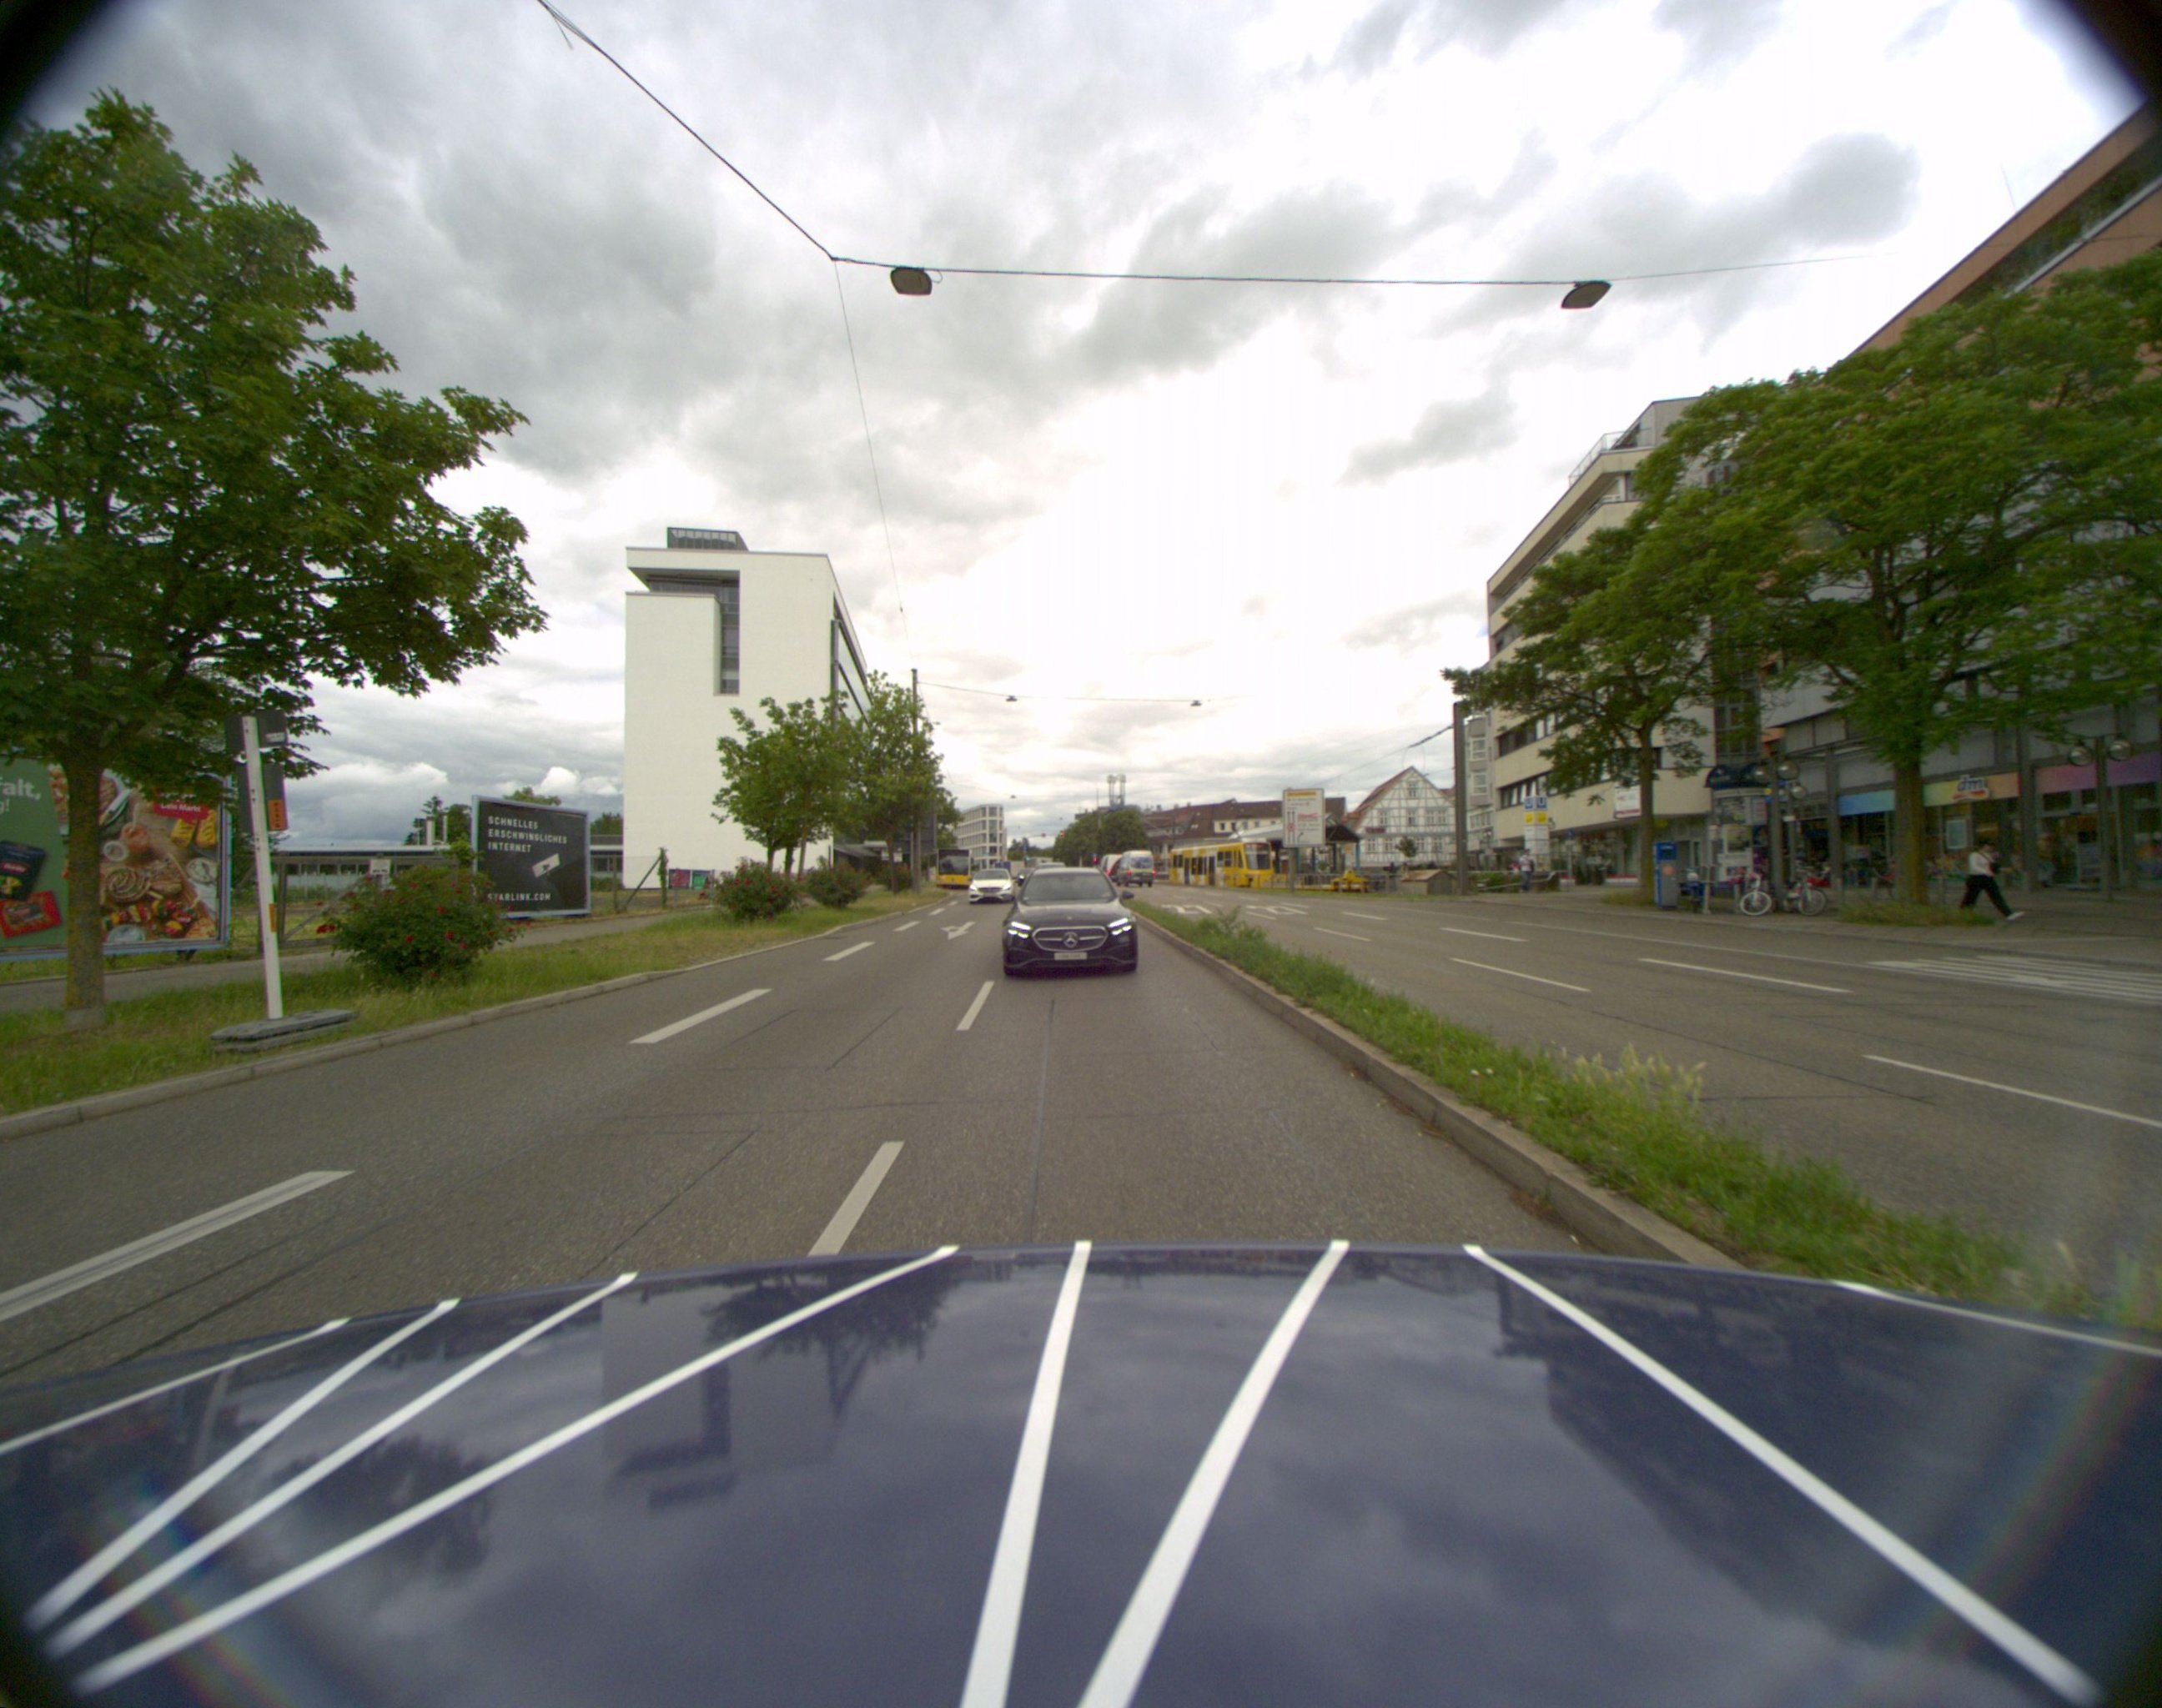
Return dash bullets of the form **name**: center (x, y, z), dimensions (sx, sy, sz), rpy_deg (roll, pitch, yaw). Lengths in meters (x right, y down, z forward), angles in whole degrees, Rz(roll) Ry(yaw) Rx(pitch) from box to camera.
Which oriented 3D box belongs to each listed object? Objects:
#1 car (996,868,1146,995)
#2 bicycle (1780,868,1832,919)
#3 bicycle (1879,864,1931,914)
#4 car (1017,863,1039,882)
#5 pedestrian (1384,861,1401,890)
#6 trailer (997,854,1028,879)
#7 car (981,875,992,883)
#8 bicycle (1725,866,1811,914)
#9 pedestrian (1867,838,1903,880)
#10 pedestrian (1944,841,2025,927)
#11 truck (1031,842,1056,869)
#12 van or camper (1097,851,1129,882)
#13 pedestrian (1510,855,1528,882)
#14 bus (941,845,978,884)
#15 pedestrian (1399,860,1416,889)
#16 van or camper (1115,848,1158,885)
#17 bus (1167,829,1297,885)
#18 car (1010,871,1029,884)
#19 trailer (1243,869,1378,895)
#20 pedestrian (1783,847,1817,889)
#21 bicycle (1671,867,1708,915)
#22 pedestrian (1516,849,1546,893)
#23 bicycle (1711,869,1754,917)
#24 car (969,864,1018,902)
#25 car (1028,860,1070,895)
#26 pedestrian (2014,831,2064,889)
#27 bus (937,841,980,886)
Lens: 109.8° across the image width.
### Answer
- **car**: center (-0.251, 1.066, 12.335), dimensions (1.873, 1.542, 4.773), rpy_deg (-4, -1, -3)
- **bicycle**: center (17.221, 0.921, 18.079), dimensions (0.603, 1.154, 1.693), rpy_deg (-1, -1, 34)
- **bicycle**: center (20.244, 0.837, 18.691), dimensions (0.672, 1.154, 2.023), rpy_deg (-1, -1, 42)
- **car**: center (-4.438, 1.528, 64.405), dimensions (1.735, 1.474, 4.368), rpy_deg (-2, -1, -2)
- **pedestrian**: center (16.629, 1.140, 40.530), dimensions (0.601, 1.564, 0.620), rpy_deg (0, -1, -7)
- **trailer**: center (-12.843, 2.382, 140.838), dimensions (3.114, 4.243, 14.830), rpy_deg (0, -2, -16)
- **car**: center (-19.985, 5.275, 160.560), dimensions (1.792, 1.506, 4.361), rpy_deg (-1, -2, -12)
- **bicycle**: center (17.571, 0.898, 19.504), dimensions (0.604, 1.154, 1.966), rpy_deg (-1, -1, 7)
- **pedestrian**: center (33.487, 0.223, 31.661), dimensions (0.705, 1.706, 0.706), rpy_deg (-3, 0, -6)
- **pedestrian**: center (18.618, 0.613, 15.669), dimensions (0.777, 1.703, 0.707), rpy_deg (-3, 0, -3)
- **truck**: center (-5.908, 0.288, 117.810), dimensions (2.948, 3.934, 9.159), rpy_deg (-1, -1, -9)
- **van or camper**: center (2.850, 1.125, 68.653), dimensions (2.000, 2.582, 6.113), rpy_deg (1, -1, -6)
- **pedestrian**: center (27.523, 0.923, 47.752), dimensions (0.693, 1.690, 0.628), rpy_deg (0, 0, -7)
- **bus**: center (-10.966, 0.971, 68.705), dimensions (3.046, 3.216, 9.332), rpy_deg (0, -1, -9)
- **pedestrian**: center (17.485, 1.086, 40.729), dimensions (0.601, 1.564, 0.620), rpy_deg (0, -1, -7)
- **van or camper**: center (4.057, 0.948, 56.869), dimensions (2.039, 2.582, 6.112), rpy_deg (1, -1, -7)
- **bus**: center (11.397, 0.374, 61.453), dimensions (3.890, 3.836, 19.329), rpy_deg (0, -1, -9)
- **car**: center (-7.873, 3.012, 97.744), dimensions (1.735, 1.544, 4.370), rpy_deg (-2, -1, 3)
- **trailer**: center (13.300, 1.578, 45.740), dimensions (2.850, 1.325, 12.118), rpy_deg (0, -1, -9)
- **pedestrian**: center (29.425, 0.568, 31.090), dimensions (0.706, 1.688, 0.635), rpy_deg (-3, 0, -5)
- **bicycle**: center (15.942, 0.950, 19.930), dimensions (0.603, 1.154, 1.969), rpy_deg (-3, -1, 36)
- **pedestrian**: center (19.420, 0.717, 32.791), dimensions (0.746, 1.866, 0.873), rpy_deg (0, 0, -5)
- **bicycle**: center (16.446, 0.952, 19.208), dimensions (0.603, 1.154, 1.969), rpy_deg (-1, -1, 35)
- **car**: center (-3.866, 1.252, 32.955), dimensions (1.874, 1.496, 4.771), rpy_deg (-1, -2, -9)
- **car**: center (-1.598, 1.196, 39.526), dimensions (1.735, 1.680, 4.370), rpy_deg (-2, -1, 3)
- **pedestrian**: center (28.447, 0.185, 22.570), dimensions (0.651, 1.690, 0.668), rpy_deg (0, 0, -5)
- **bus**: center (-9.519, 0.772, 59.333), dimensions (2.992, 3.221, 9.859), rpy_deg (-1, -1, -9)
